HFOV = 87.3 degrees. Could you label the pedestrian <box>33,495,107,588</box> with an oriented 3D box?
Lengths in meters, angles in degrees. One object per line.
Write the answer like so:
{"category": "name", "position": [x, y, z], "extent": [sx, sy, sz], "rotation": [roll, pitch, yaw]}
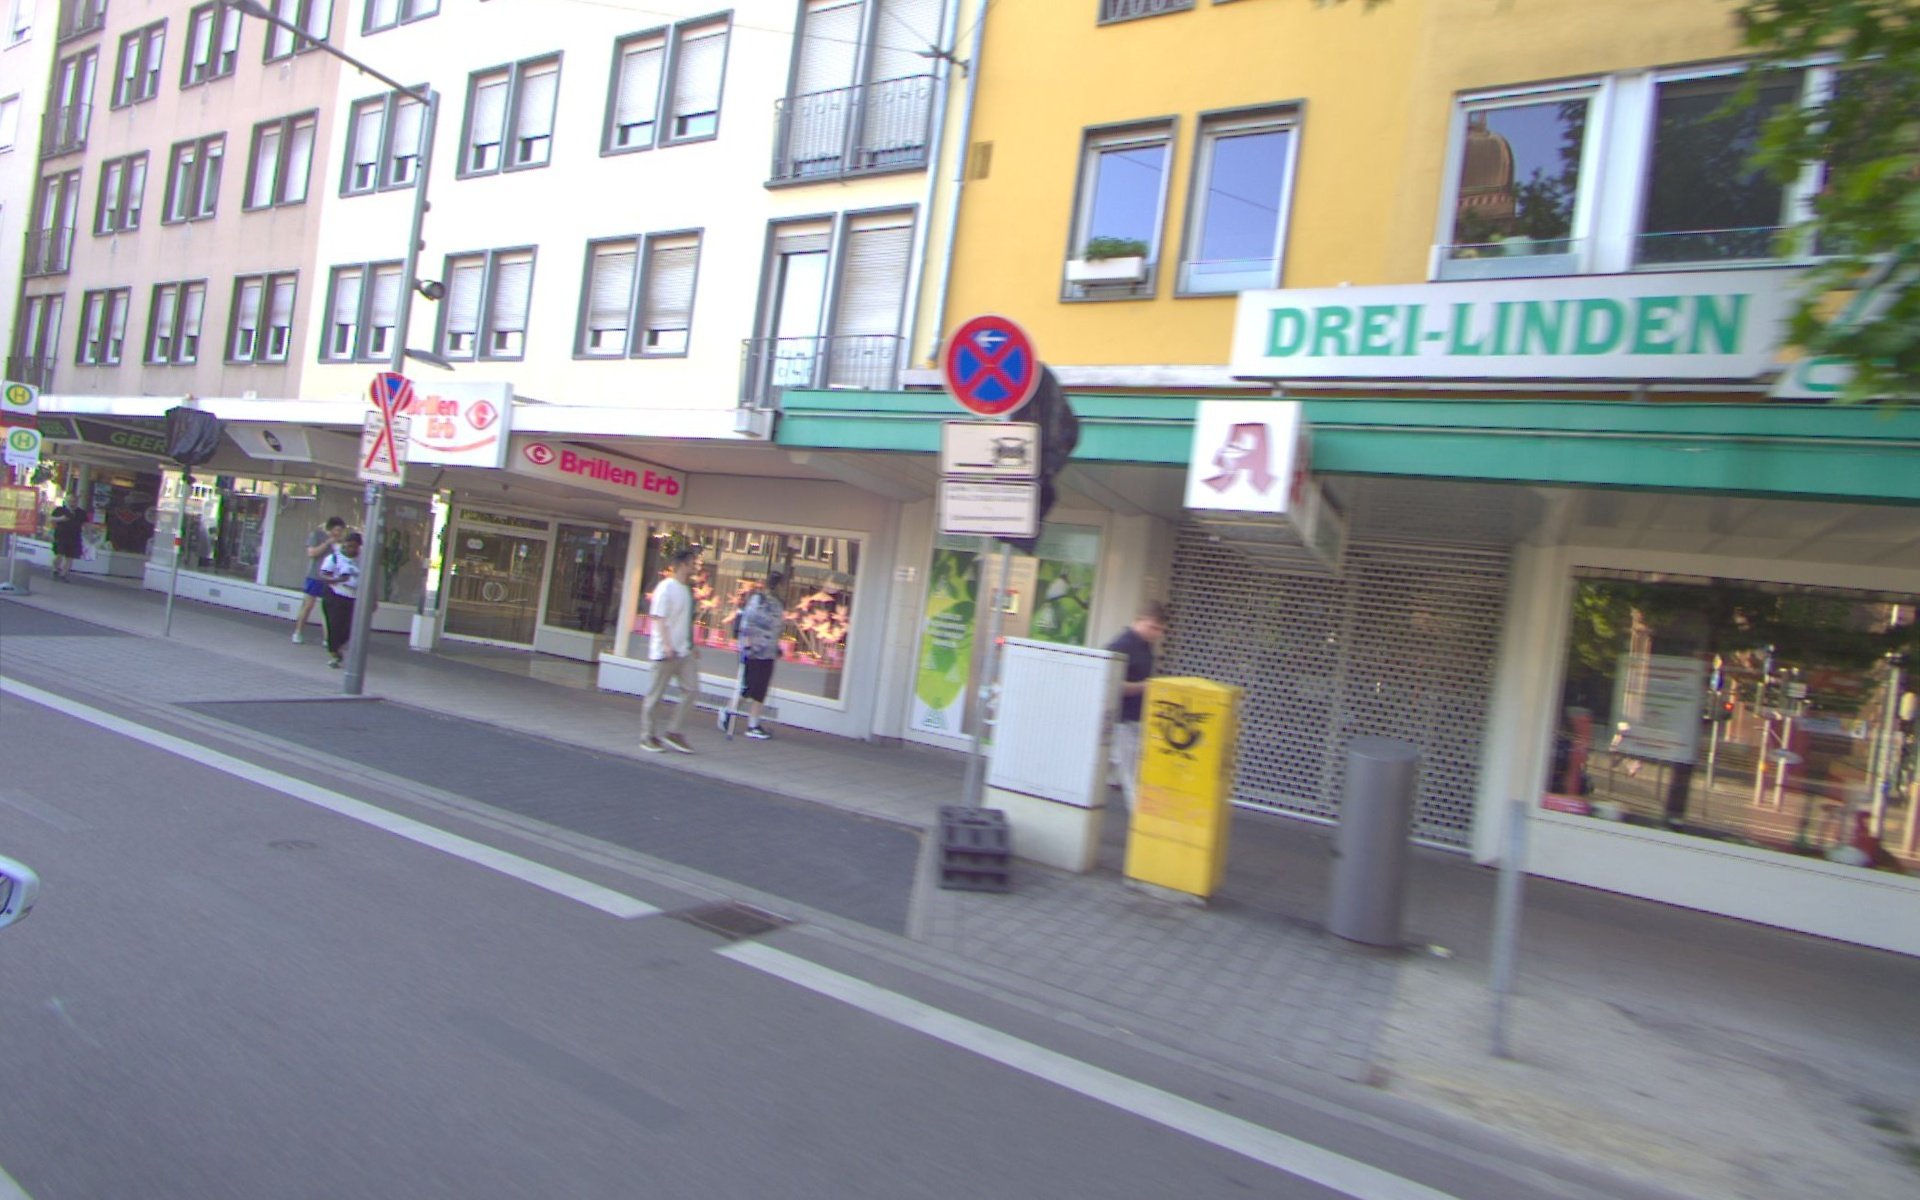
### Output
{"category": "pedestrian", "position": [-17.168, -1.128, 19.402], "extent": [0.753, 1.652, 0.725], "rotation": [7, 0, 30]}

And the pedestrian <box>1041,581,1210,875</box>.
{"category": "pedestrian", "position": [1.157, 0.850, 6.956], "extent": [0.753, 1.828, 0.725], "rotation": [7, 0, 30]}

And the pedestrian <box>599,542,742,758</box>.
{"category": "pedestrian", "position": [-2.597, 0.448, 9.054], "extent": [0.753, 1.800, 0.725], "rotation": [7, 0, 30]}

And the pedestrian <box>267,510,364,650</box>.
{"category": "pedestrian", "position": [-9.152, -0.270, 14.293], "extent": [0.753, 1.862, 0.725], "rotation": [7, 0, 30]}

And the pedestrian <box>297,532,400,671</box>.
{"category": "pedestrian", "position": [-7.559, 0.025, 12.437], "extent": [0.836, 1.597, 0.611], "rotation": [7, 0, 30]}

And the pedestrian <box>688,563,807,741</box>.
{"category": "pedestrian", "position": [-2.241, 0.545, 10.640], "extent": [0.753, 1.744, 0.725], "rotation": [7, 0, 30]}
